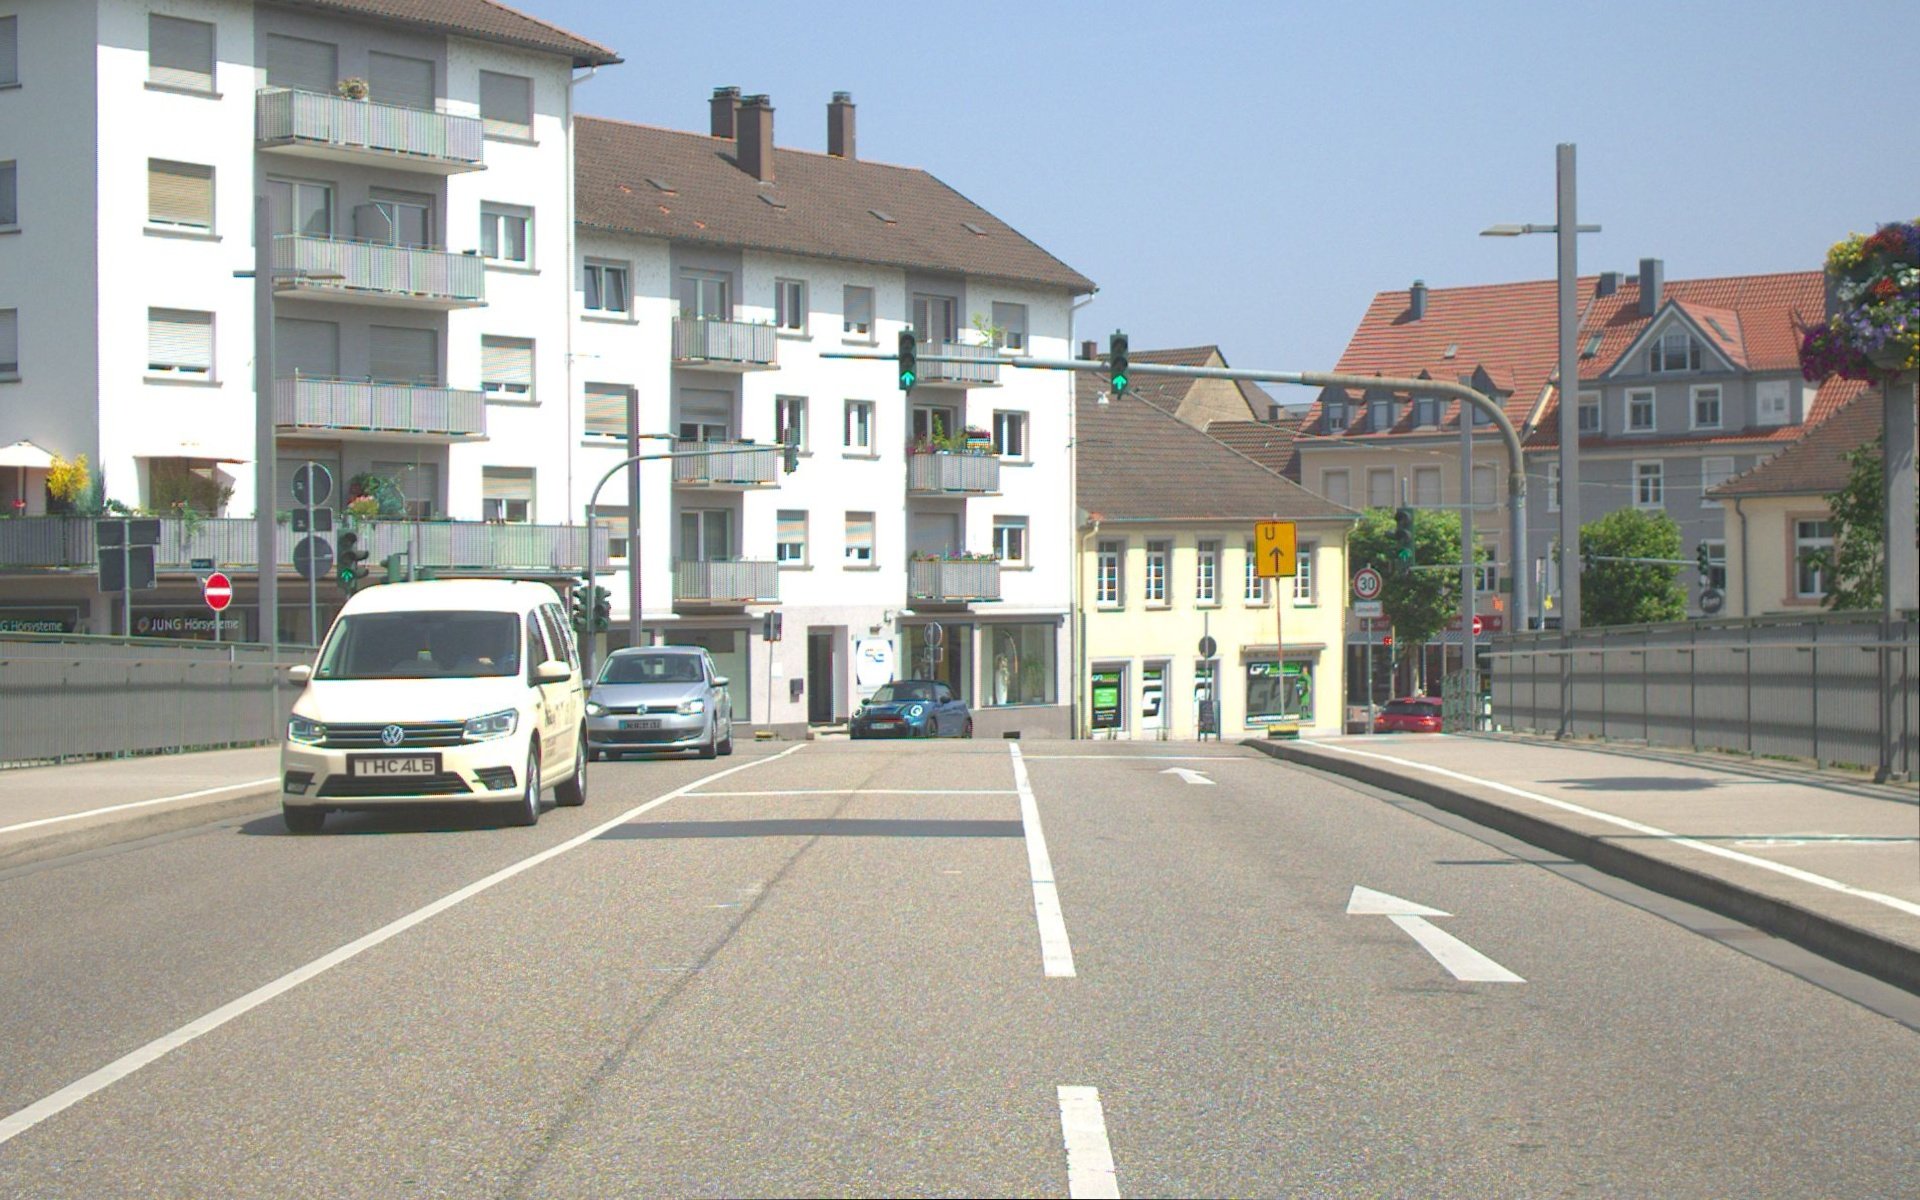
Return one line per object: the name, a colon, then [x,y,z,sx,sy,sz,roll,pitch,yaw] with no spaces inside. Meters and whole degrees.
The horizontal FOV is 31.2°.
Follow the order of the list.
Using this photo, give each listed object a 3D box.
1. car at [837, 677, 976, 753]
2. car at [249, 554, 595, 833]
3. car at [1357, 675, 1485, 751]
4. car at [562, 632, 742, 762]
car: [-1.076,2.355,71.063,1.658,1.435,3.751,-2,-1,19]
car: [-3.930,0.666,25.840,1.759,1.851,4.646,-2,-1,1]
car: [11.119,2.689,82.651,1.992,1.607,4.337,0,1,22]
car: [-3.865,1.193,43.707,1.760,1.514,4.000,-1,0,2]
